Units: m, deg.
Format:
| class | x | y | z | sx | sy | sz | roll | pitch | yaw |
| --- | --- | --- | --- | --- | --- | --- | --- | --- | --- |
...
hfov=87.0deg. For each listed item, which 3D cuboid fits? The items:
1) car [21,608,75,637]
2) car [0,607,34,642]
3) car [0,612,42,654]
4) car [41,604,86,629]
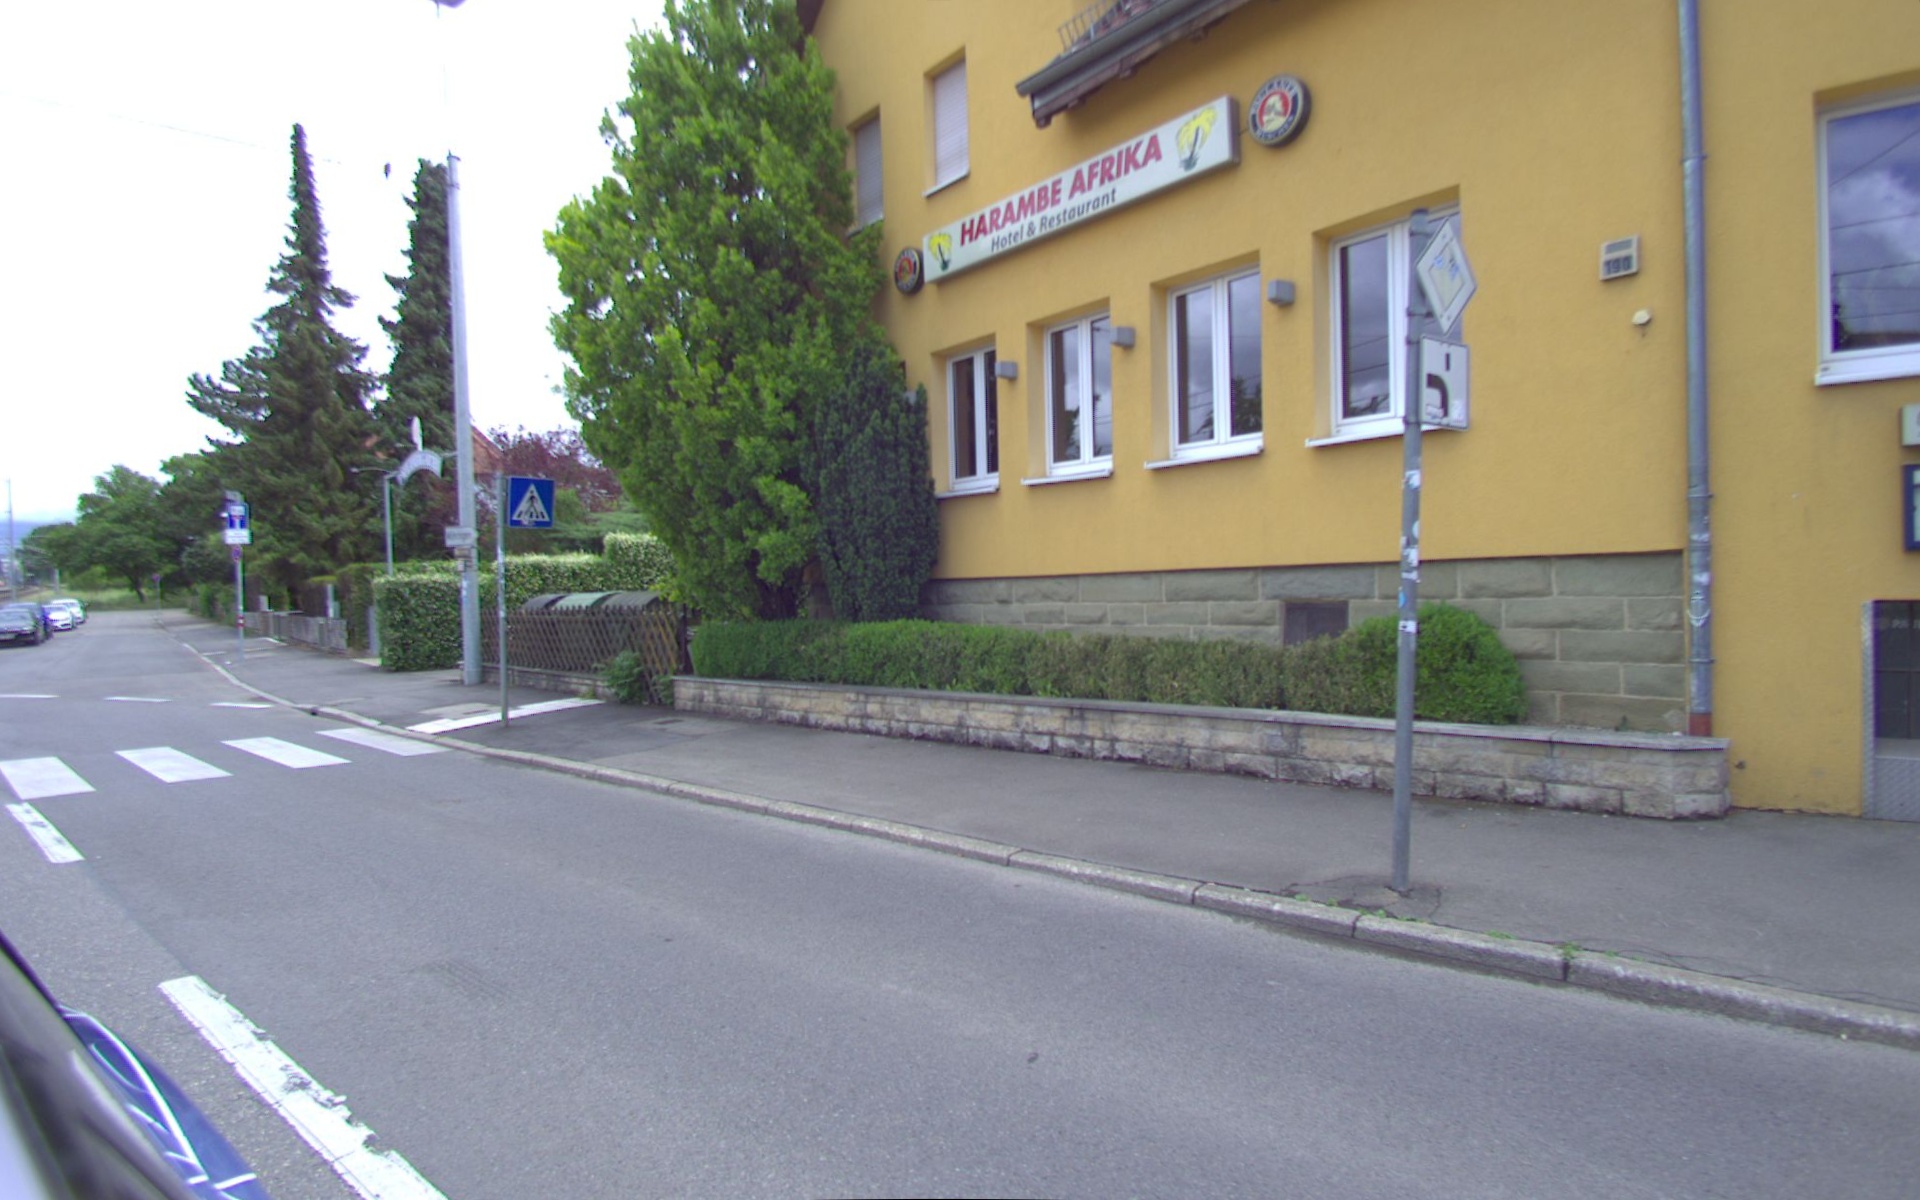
| class | x | y | z | sx | sy | sz | roll | pitch | yaw |
| --- | --- | --- | --- | --- | --- | --- | --- | --- | --- |
| car | -47.818 | 1.157 | 53.128 | 1.825 | 1.386 | 4.007 | -3 | 2 | -39 |
| car | -42.955 | 1.105 | 45.363 | 1.825 | 1.491 | 4.007 | -3 | 2 | -39 |
| car | -37.324 | 1.262 | 39.709 | 1.794 | 1.512 | 4.125 | -3 | 2 | -41 |
| car | -54.800 | 1.001 | 61.889 | 1.825 | 1.386 | 4.007 | -3 | 2 | -39 |
